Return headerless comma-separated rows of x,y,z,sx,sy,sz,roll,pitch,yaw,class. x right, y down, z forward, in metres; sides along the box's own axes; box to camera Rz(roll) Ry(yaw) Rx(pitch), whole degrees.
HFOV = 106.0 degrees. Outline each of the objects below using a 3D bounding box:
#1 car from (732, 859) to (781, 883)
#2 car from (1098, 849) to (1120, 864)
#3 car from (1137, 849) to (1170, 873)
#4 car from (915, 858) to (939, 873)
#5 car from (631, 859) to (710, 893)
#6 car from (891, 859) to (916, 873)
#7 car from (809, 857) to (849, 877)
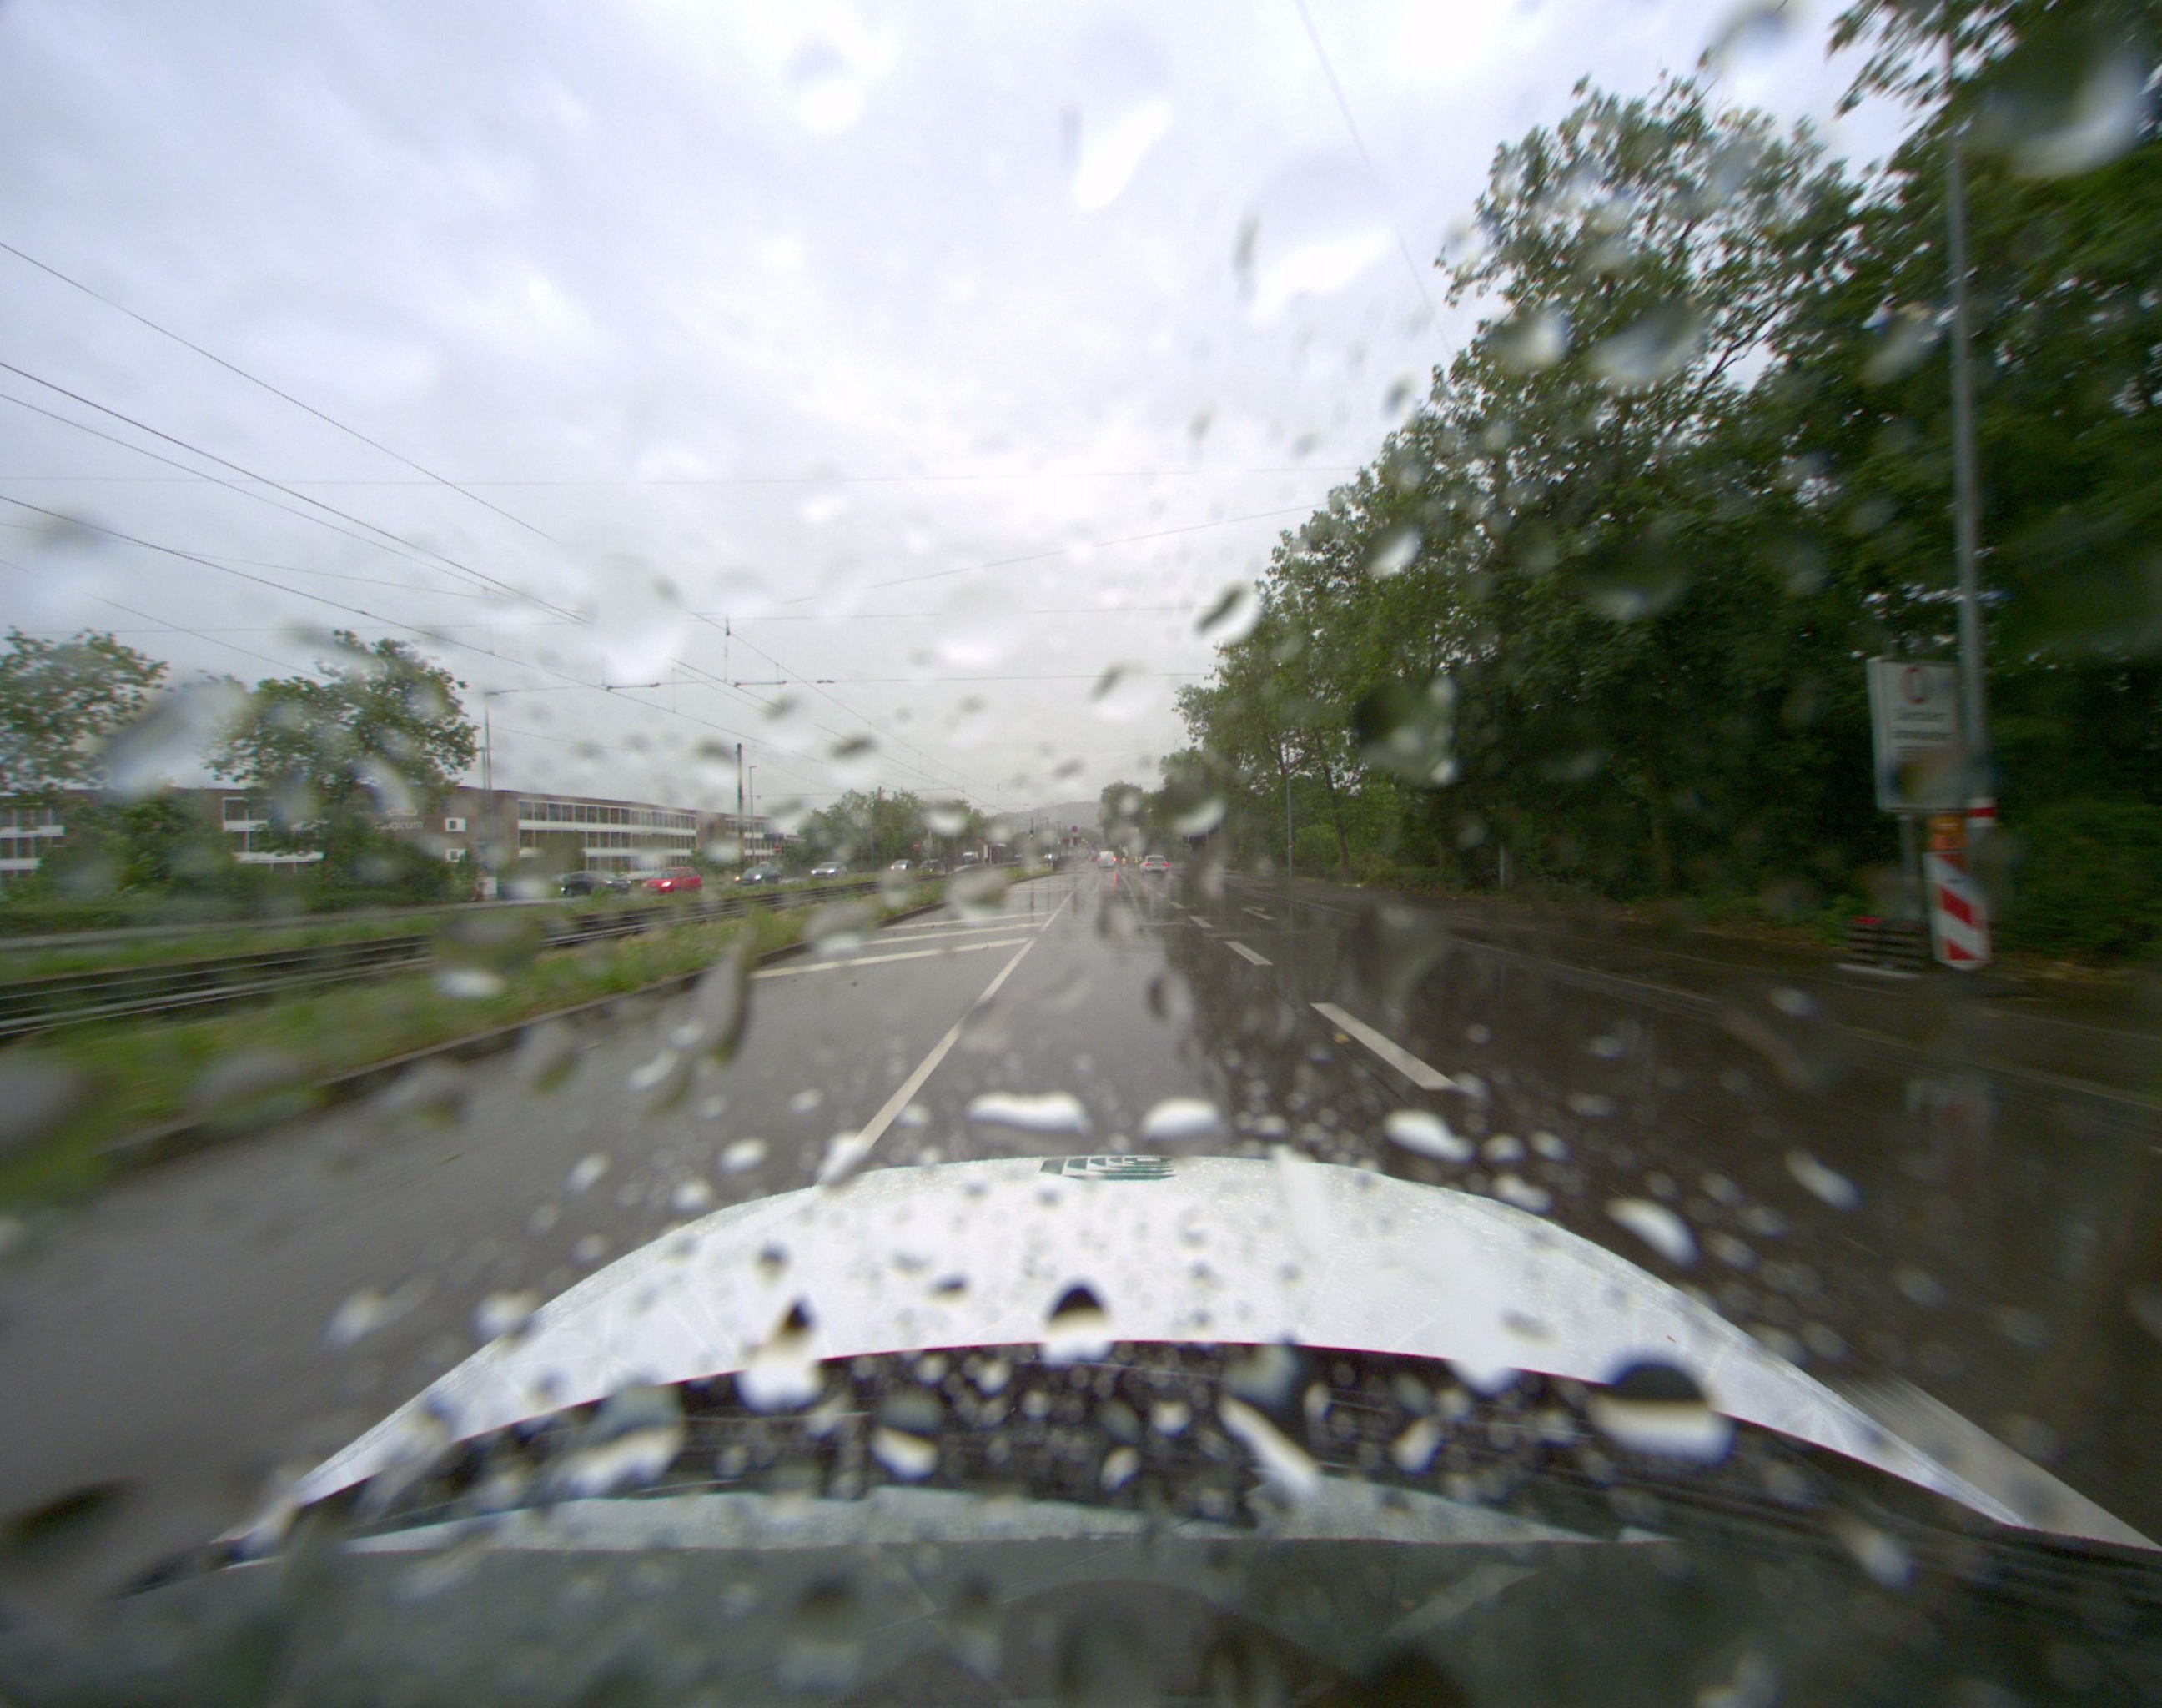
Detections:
-22.803,1.172,57.399,1.714,1.494,4.001,-1,0,1,car
2.727,0.248,79.198,2.069,1.420,4.002,-1,0,2,car
5.033,0.470,57.170,1.941,1.536,4.467,-1,0,1,car
-16.392,1.207,86.704,1.714,1.494,4.001,-1,0,1,car
-20.077,1.053,40.005,1.714,1.494,4.001,-1,0,1,car
-19.151,1.281,88.042,1.714,1.494,4.001,-1,0,1,car
-19.384,0.980,62.846,1.714,1.494,4.001,-1,0,1,car
